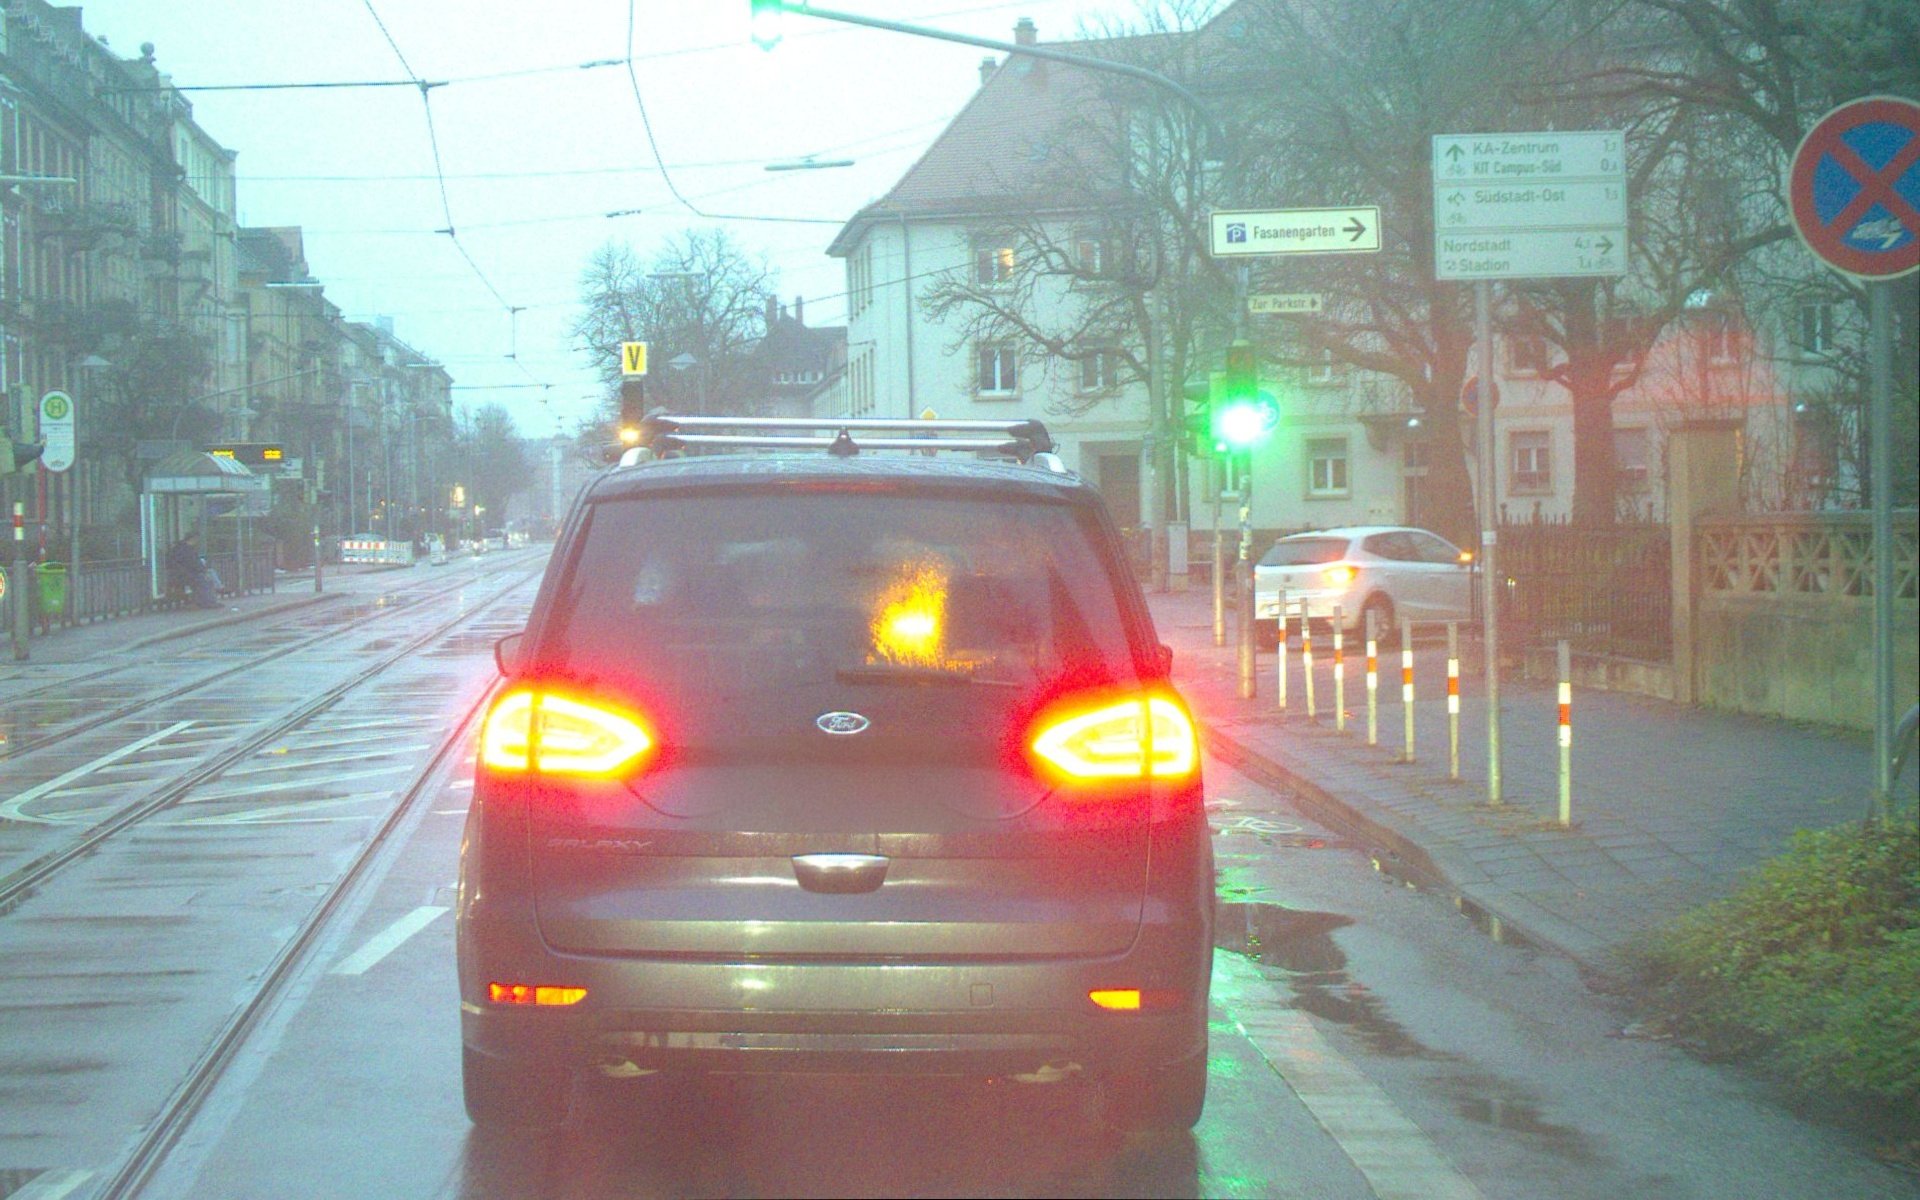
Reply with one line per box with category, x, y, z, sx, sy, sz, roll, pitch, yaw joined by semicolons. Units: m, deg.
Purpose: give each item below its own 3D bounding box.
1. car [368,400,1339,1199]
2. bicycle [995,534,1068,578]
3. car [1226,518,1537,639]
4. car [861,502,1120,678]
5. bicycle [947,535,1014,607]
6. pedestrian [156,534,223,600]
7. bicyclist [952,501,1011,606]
car;-0.361;0.431;9.869;2.103;1.810;4.661;1;1;-3
bicycle;1.941;-1.197;93.507;1.853;1.179;0.713;0;1;27
car;5.162;-0.287;41.781;1.669;1.371;3.990;0;2;44
car;0.374;-0.118;34.434;1.710;1.656;3.998;0;1;14
bicycle;0.325;-0.479;55.966;0.716;1.108;1.942;3;1;-10
pedestrian;-13.925;-0.599;62.162;1.047;1.196;0.885;0;1;-4
bicyclist;0.343;-0.763;55.926;0.716;1.657;1.057;3;1;-10
